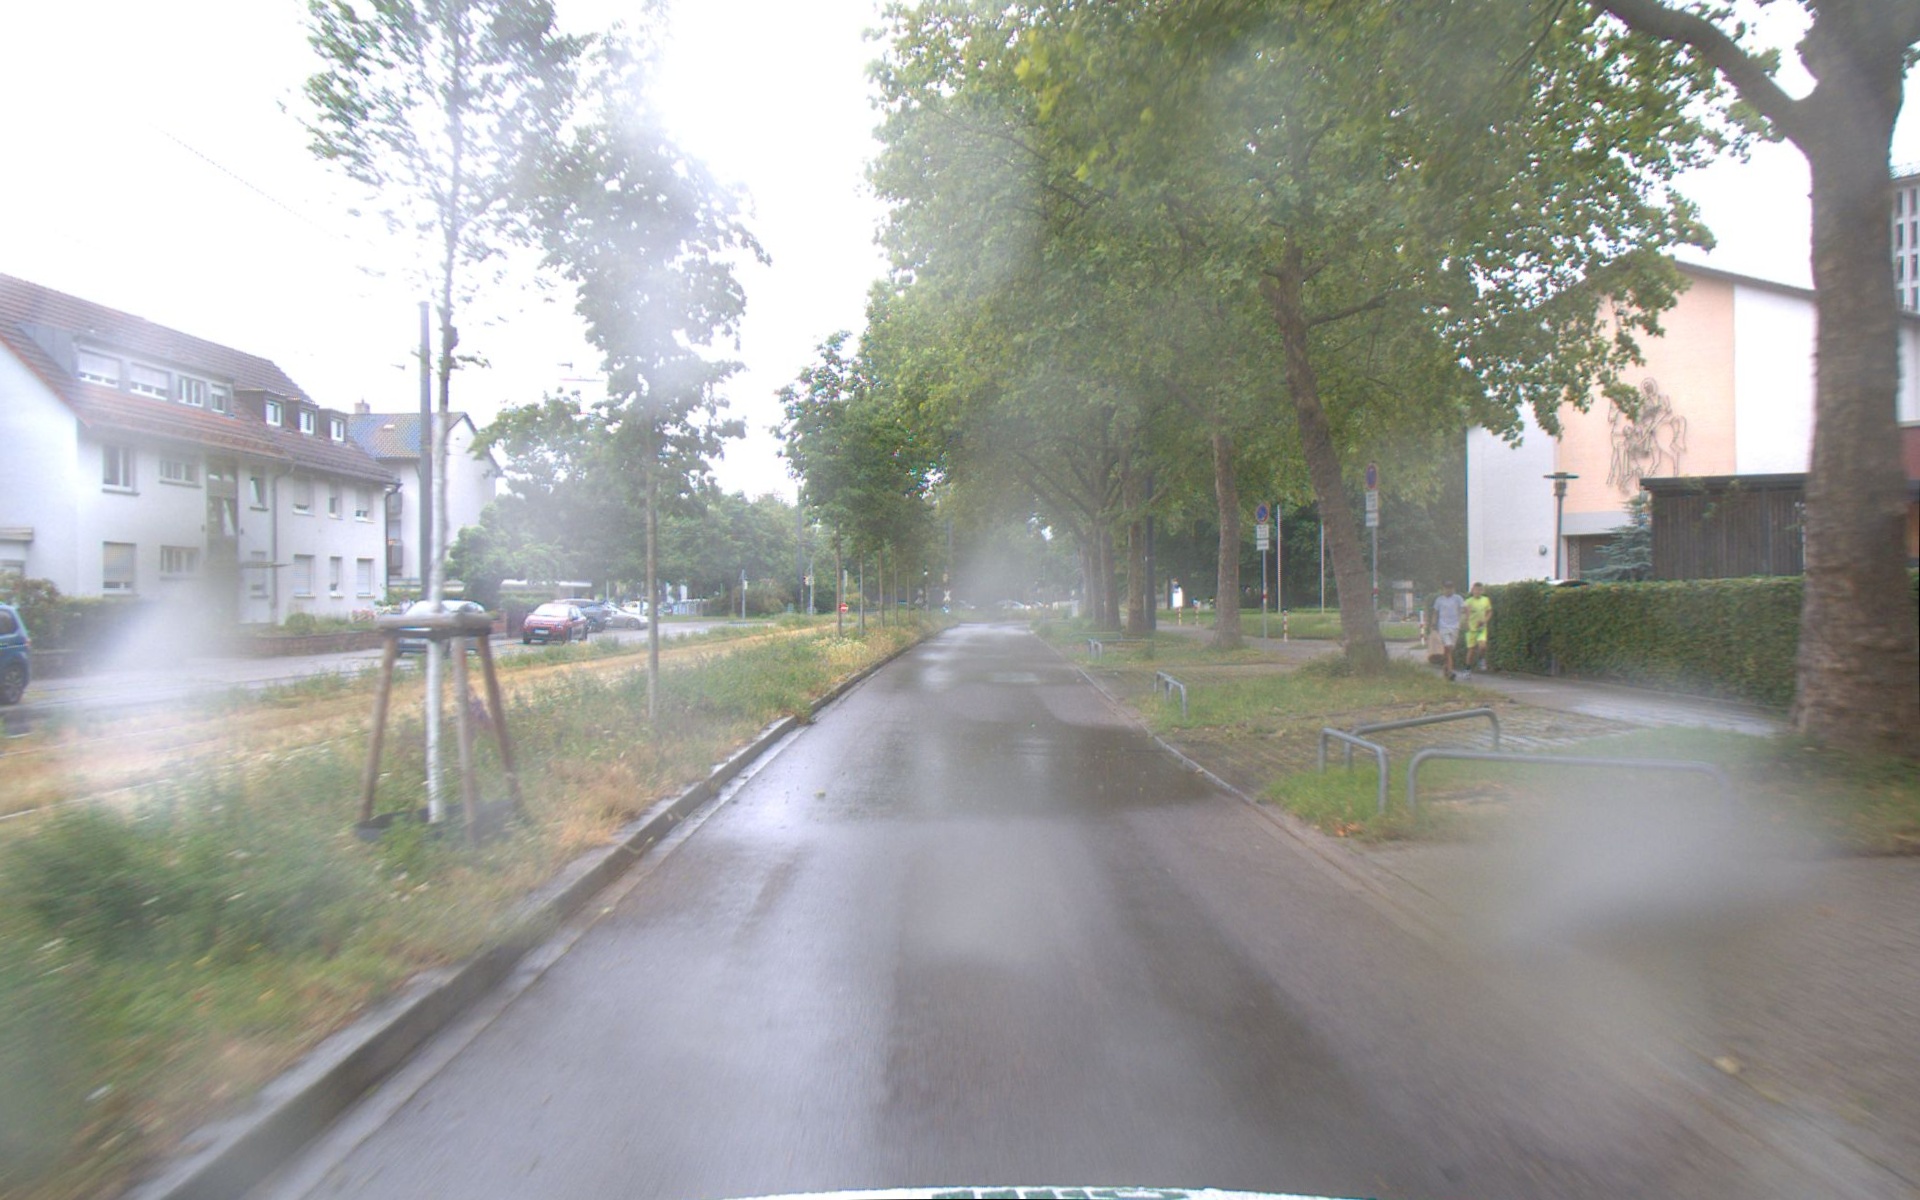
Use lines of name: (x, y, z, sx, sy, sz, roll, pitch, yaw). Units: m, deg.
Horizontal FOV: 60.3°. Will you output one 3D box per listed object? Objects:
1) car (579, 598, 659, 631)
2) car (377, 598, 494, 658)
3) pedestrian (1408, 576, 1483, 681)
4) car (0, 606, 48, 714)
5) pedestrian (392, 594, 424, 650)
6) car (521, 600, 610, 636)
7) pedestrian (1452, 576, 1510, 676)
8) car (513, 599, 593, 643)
car: (-18.448, 0.784, 89.576, 3.907, 1.645, 1.999, -1, 0, -2)
car: (-15.349, 0.787, 48.645, 1.953, 1.608, 4.517, 1, 1, 0)
pedestrian: (7.508, 0.434, 25.613, 0.817, 1.565, 0.859, -2, 0, -5)
car: (-15.932, 0.945, 24.890, 1.953, 1.642, 4.413, 1, 1, 0)
pedestrian: (-17.915, 0.699, 53.670, 0.687, 1.786, 0.854, -1, 0, 1)
car: (-19.365, 0.856, 81.349, 3.907, 1.645, 1.999, -1, 0, -2)
pedestrian: (8.285, 0.406, 26.331, 0.545, 1.565, 0.966, -1, 0, -5)
car: (-15.364, 0.761, 62.646, 1.953, 1.514, 4.205, 1, 1, 0)
